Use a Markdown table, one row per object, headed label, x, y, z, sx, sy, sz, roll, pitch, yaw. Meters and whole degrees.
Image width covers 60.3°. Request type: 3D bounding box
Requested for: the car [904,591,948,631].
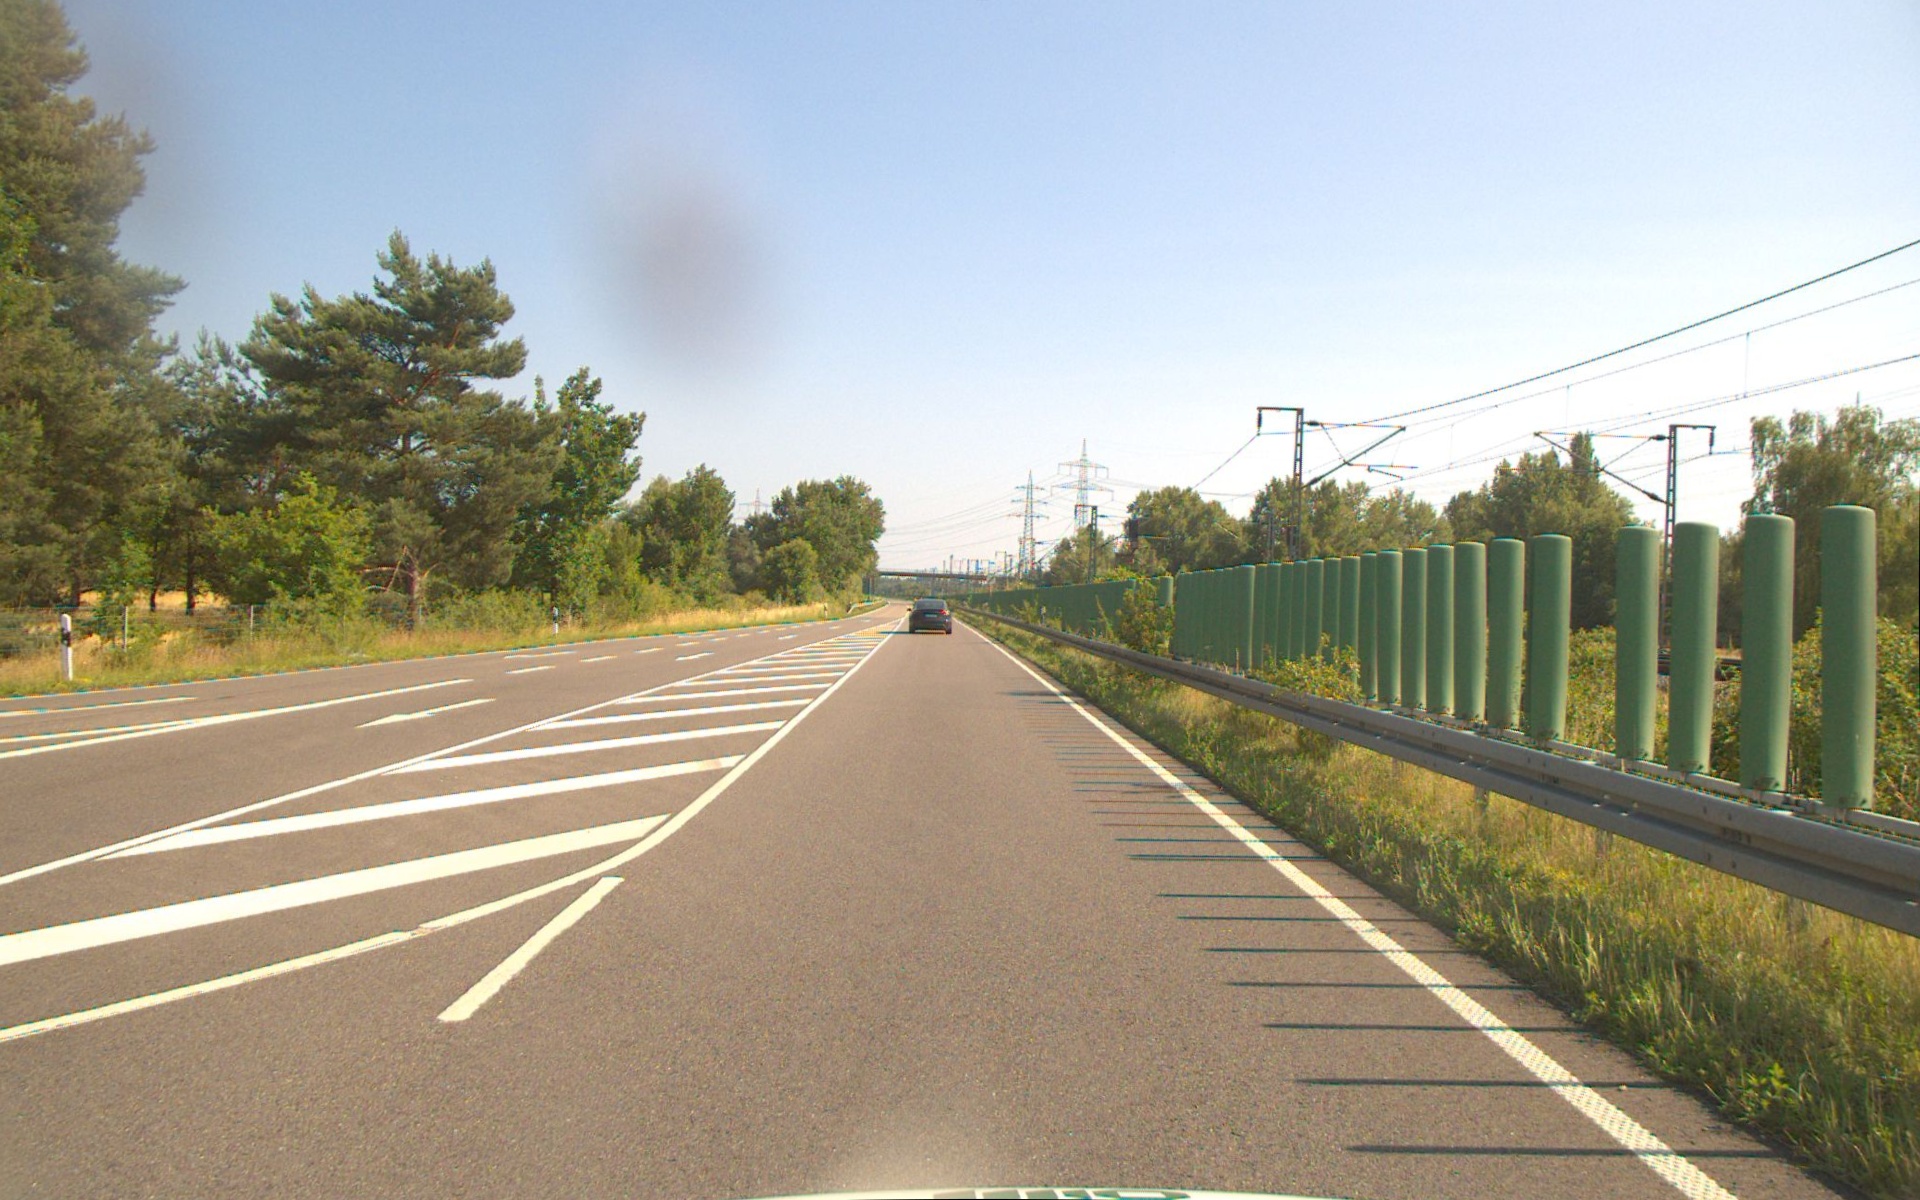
| label | x | y | z | sx | sy | sz | roll | pitch | yaw |
| --- | --- | --- | --- | --- | --- | --- | --- | --- | --- |
| car | -1.427 | 0.451 | 70.678 | 1.821 | 1.670 | 3.999 | 0 | 0 | -1 |
